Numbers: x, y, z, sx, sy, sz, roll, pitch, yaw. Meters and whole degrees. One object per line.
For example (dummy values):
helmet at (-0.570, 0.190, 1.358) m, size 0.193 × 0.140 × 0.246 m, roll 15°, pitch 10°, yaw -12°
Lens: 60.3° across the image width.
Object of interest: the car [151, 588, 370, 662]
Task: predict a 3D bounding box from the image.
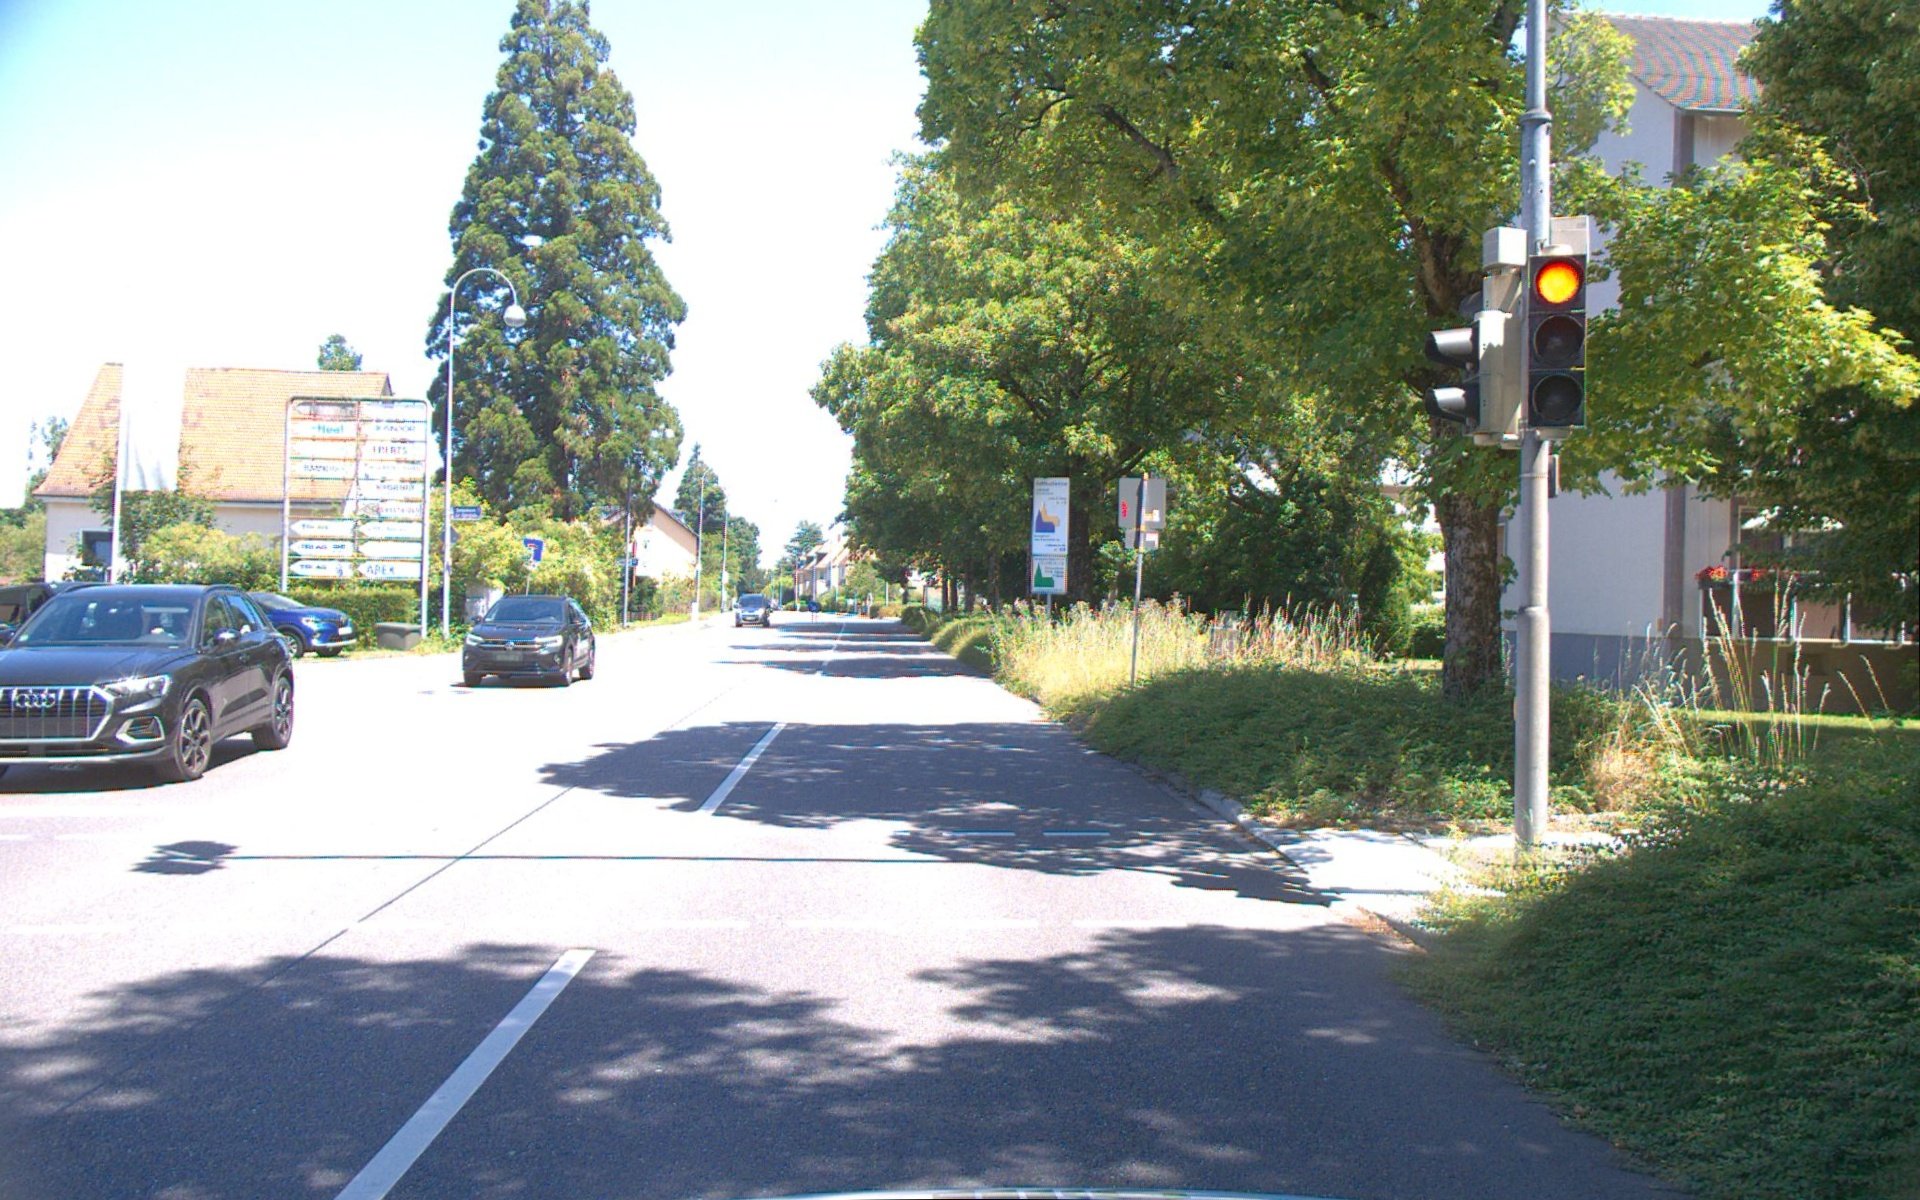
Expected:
car at (-15.190, 0.525, 36.018) m, size 4.047 × 1.531 × 1.779 m, roll 0°, pitch 0°, yaw 8°

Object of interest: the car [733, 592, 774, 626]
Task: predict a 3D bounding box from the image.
car at (-11.435, 0.492, 91.881) m, size 1.774 × 1.793 × 4.569 m, roll 1°, pitch 0°, yaw -1°

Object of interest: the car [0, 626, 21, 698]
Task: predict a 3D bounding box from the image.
car at (-24.586, 1.533, 40.091) m, size 1.775 × 1.752 × 4.081 m, roll 1°, pitch 0°, yaw -8°

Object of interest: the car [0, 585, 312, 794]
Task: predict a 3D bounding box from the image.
car at (-7.289, 0.675, 14.636) m, size 1.890 × 1.582 × 4.295 m, roll 0°, pitch 0°, yaw -8°

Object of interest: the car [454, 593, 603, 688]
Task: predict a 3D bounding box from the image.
car at (-7.423, 0.660, 28.838) m, size 1.832 × 1.533 × 4.049 m, roll 0°, pitch 0°, yaw -5°
